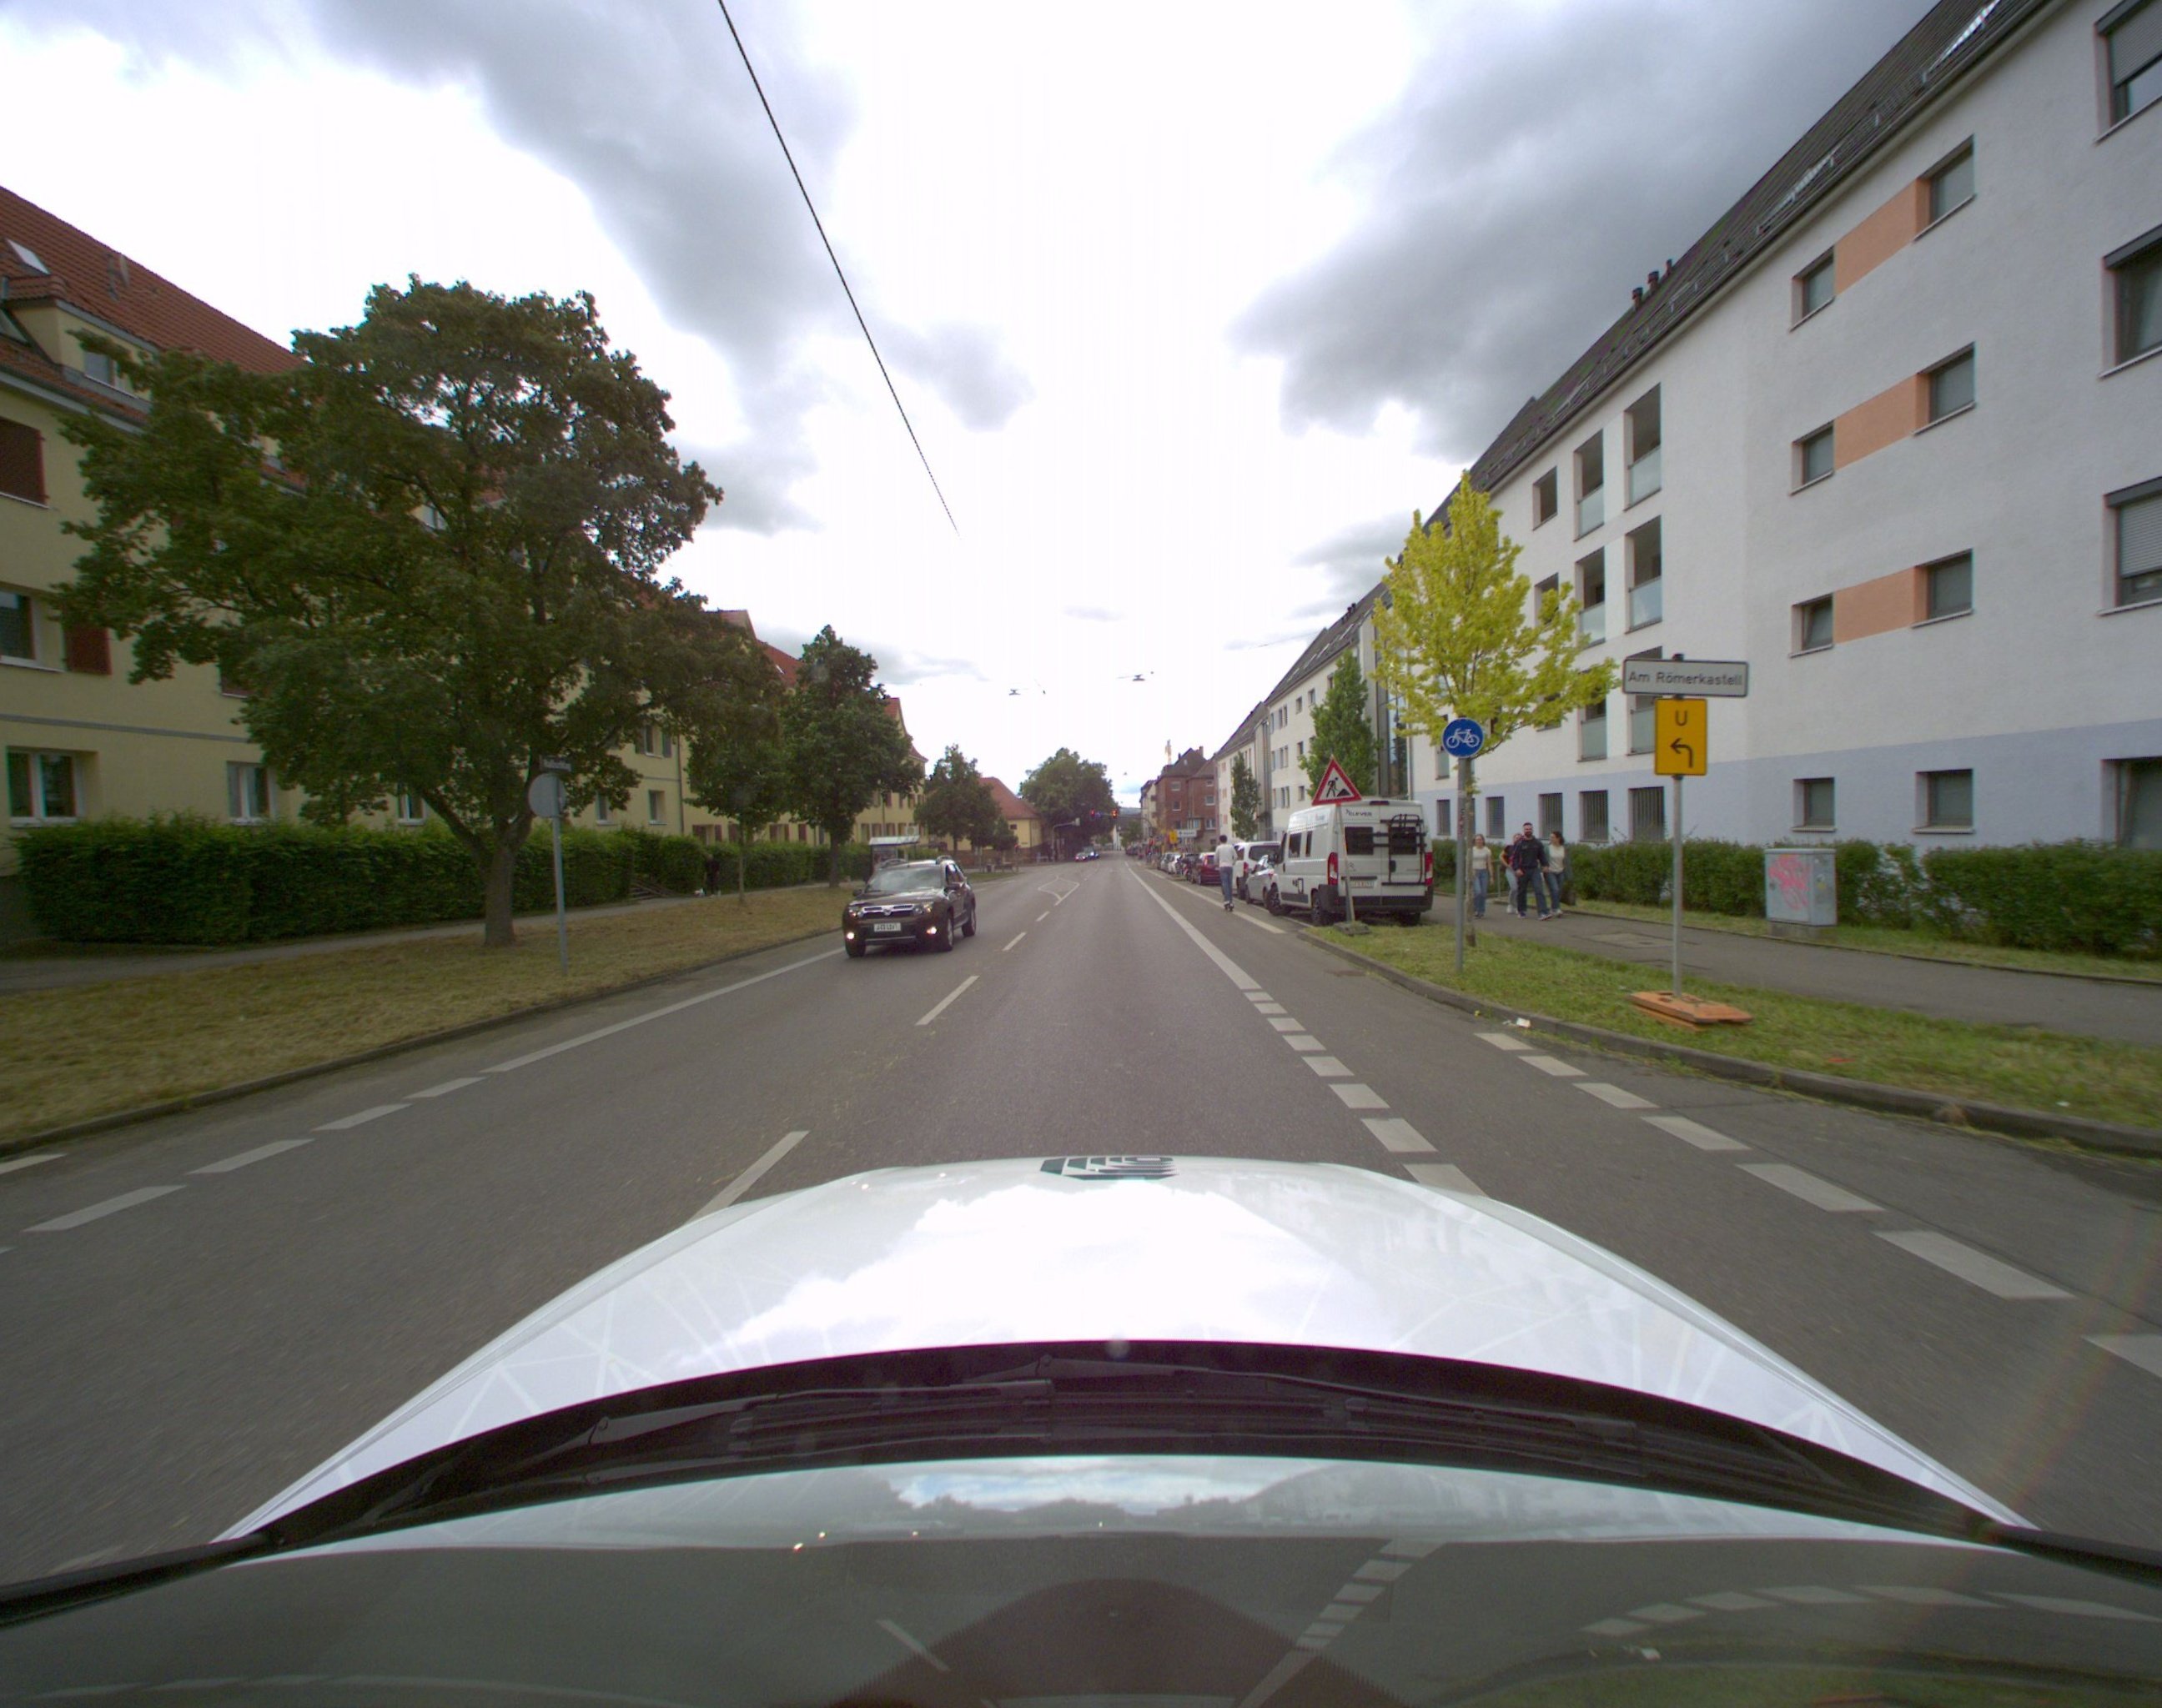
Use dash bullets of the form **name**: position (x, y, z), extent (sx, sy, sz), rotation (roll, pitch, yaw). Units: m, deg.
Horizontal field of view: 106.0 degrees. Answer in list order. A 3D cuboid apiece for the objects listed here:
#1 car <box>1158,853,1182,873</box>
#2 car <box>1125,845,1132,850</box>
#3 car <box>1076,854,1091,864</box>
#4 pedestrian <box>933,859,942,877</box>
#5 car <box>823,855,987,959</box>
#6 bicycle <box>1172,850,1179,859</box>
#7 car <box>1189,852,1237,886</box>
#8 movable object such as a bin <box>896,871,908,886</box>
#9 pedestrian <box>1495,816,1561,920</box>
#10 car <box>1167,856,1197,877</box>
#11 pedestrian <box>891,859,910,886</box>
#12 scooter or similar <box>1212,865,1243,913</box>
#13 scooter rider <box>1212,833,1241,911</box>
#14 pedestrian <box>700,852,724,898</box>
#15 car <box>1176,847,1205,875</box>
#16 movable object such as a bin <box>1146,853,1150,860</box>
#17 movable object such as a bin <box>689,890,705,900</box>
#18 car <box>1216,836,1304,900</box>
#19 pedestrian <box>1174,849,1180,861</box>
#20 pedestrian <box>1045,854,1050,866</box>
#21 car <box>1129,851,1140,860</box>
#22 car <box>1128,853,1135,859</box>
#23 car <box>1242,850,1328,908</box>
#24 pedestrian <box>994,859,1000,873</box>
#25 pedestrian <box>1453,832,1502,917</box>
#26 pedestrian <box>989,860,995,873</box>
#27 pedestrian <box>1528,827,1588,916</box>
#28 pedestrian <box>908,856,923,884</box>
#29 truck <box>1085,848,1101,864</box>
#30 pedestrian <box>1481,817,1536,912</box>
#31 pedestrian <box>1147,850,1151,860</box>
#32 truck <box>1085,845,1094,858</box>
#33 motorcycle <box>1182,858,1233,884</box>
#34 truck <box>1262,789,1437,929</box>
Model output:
- **car**: position (7.816, 0.734, 71.675), extent (1.653, 1.716, 4.552), rotation (0, 0, 1)
- **car**: position (13.812, -1.839, 237.791), extent (1.663, 1.547, 3.755), rotation (-2, 0, 0)
- **car**: position (0.357, 0.770, 123.659), extent (1.748, 1.472, 4.313), rotation (-3, 0, 5)
- **pedestrian**: position (-13.000, 1.237, 73.777), extent (0.638, 1.619, 0.618), rotation (-2, 0, 1)
- **car**: position (-3.106, 0.854, 15.337), extent (1.891, 1.620, 4.365), rotation (-2, 0, 3)
- **bicycle**: position (13.839, 0.086, 119.120), extent (0.757, 1.193, 2.393), rotation (-2, 0, 2)
- **car**: position (6.410, 0.686, 39.876), extent (1.675, 1.544, 4.339), rotation (-1, 0, 1)
- **movable object such as a bin**: position (-10.345, 1.434, 47.014), extent (0.534, 0.845, 0.665), rotation (0, 0, 3)
- **pedestrian**: position (8.396, 0.261, 15.308), extent (0.670, 1.887, 0.763), rotation (-2, -1, -10)
- **car**: position (7.296, 0.890, 59.262), extent (1.724, 1.413, 4.500), rotation (0, 0, 1)
- **pedestrian**: position (-10.499, 1.059, 47.330), extent (0.896, 1.509, 0.807), rotation (0, 0, 2)
- **scooter or similar**: position (3.880, 0.897, 21.712), extent (0.489, 1.163, 2.075), rotation (-2, 0, 2)
- **scooter rider**: position (3.875, 0.468, 21.720), extent (0.623, 2.013, 0.758), rotation (-2, 0, 1)
- **pedestrian**: position (-14.425, 0.819, 31.868), extent (0.511, 1.779, 0.753), rotation (-2, 0, 2)
- **car**: position (7.214, 0.408, 53.842), extent (1.624, 1.650, 4.362), rotation (0, 2, 4)
- **movable object such as a bin**: position (10.909, 0.399, 132.384), extent (0.449, 1.056, 0.412), rotation (-2, 0, 22)
- **movable object such as a bin**: position (-15.122, 1.600, 32.075), extent (0.304, 0.347, 0.582), rotation (-2, 0, 7)
- **car**: position (6.087, 0.426, 28.298), extent (1.986, 1.944, 5.213), rotation (-2, 0, 2)
- **pedestrian**: position (13.942, 0.169, 118.556), extent (0.785, 1.656, 0.773), rotation (-4, 0, 2)
- **pedestrian**: position (-5.199, 0.920, 126.813), extent (0.671, 1.765, 0.726), rotation (-2, 0, 5)
- **car**: position (12.189, 0.361, 185.109), extent (1.987, 1.935, 4.917), rotation (-2, 0, 0)
- **car**: position (12.978, 0.522, 208.787), extent (1.663, 1.547, 3.755), rotation (-2, 0, 0)
- **car**: position (5.717, 0.649, 23.198), extent (1.520, 1.485, 3.725), rotation (0, 0, 0)
- **pedestrian**: position (-10.802, 1.571, 104.984), extent (0.561, 1.777, 0.842), rotation (-2, 0, 2)
- **pedestrian**: position (7.873, 0.405, 16.192), extent (0.577, 1.644, 0.559), rotation (-2, -1, -12)
- **pedestrian**: position (-10.778, 1.514, 98.748), extent (0.560, 1.566, 0.844), rotation (-2, 0, 7)
- **pedestrian**: position (9.105, 0.335, 15.558), extent (0.656, 1.605, 0.574), rotation (-6, 0, -7)
- **pedestrian**: position (-10.036, 0.966, 49.408), extent (0.594, 1.727, 0.862), rotation (-1, 0, 5)
- **truck**: position (1.942, 0.373, 134.777), extent (2.288, 2.427, 6.409), rotation (-3, 0, 0)
- **pedestrian**: position (8.733, 0.209, 16.650), extent (0.671, 1.887, 0.617), rotation (-2, -1, -15)
- **pedestrian**: position (11.080, 0.212, 132.564), extent (0.560, 1.637, 0.684), rotation (-2, 0, 22)
- **truck**: position (2.329, -0.737, 221.689), extent (2.222, 3.346, 7.452), rotation (-2, 0, 2)
- **motorcycle**: position (6.721, 0.908, 43.311), extent (2.591, 1.278, 0.752), rotation (-2, 0, -2)
- **truck**: position (5.649, 0.076, 18.062), extent (2.045, 2.565, 5.691), rotation (-2, 0, 1)
